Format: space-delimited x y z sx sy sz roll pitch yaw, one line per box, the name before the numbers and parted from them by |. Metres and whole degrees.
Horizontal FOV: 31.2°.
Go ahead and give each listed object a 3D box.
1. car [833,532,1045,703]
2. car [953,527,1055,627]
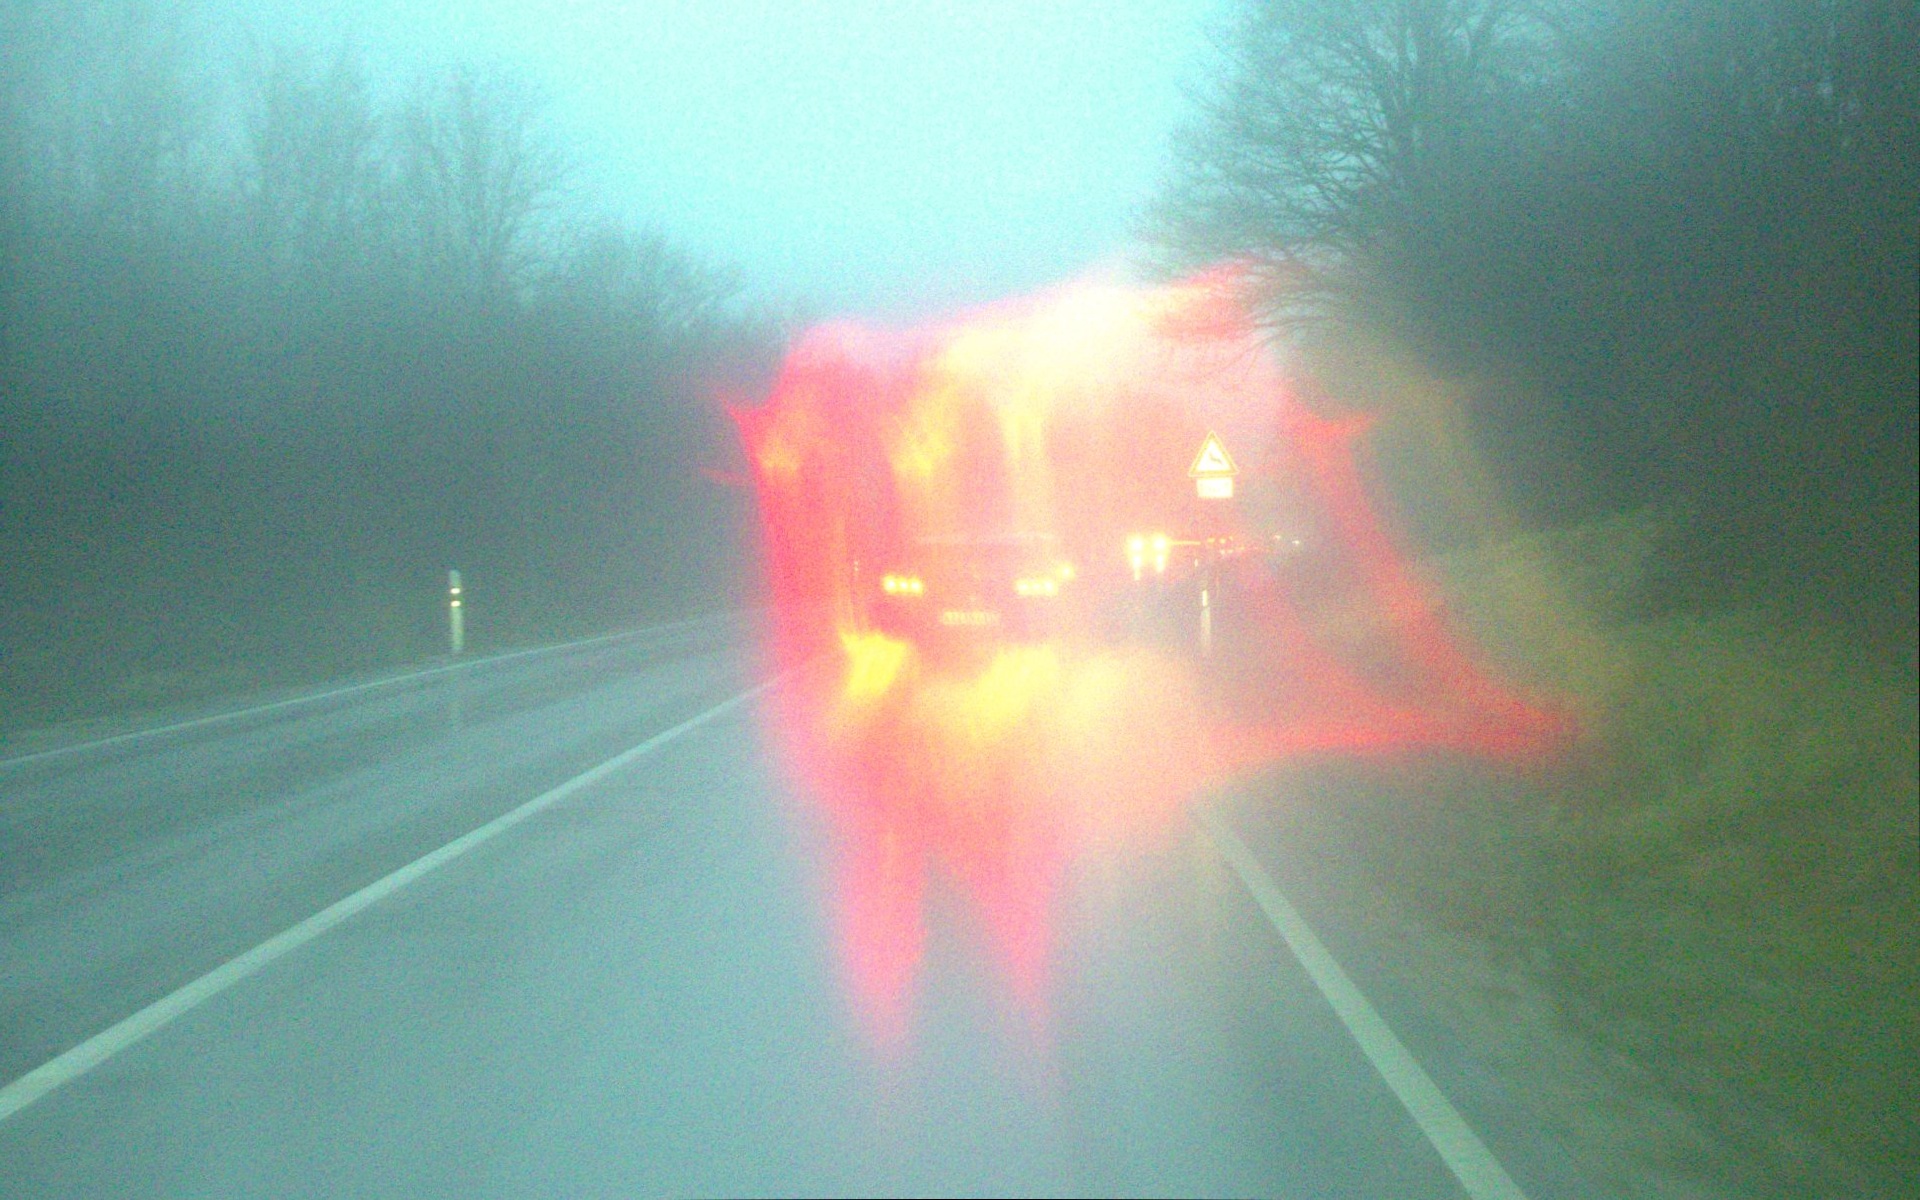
car | -0.123 0.105 30.444 1.679 1.385 4.098 -1 1 2
car | 0.736 -0.422 59.997 1.678 1.669 4.098 -1 1 0
